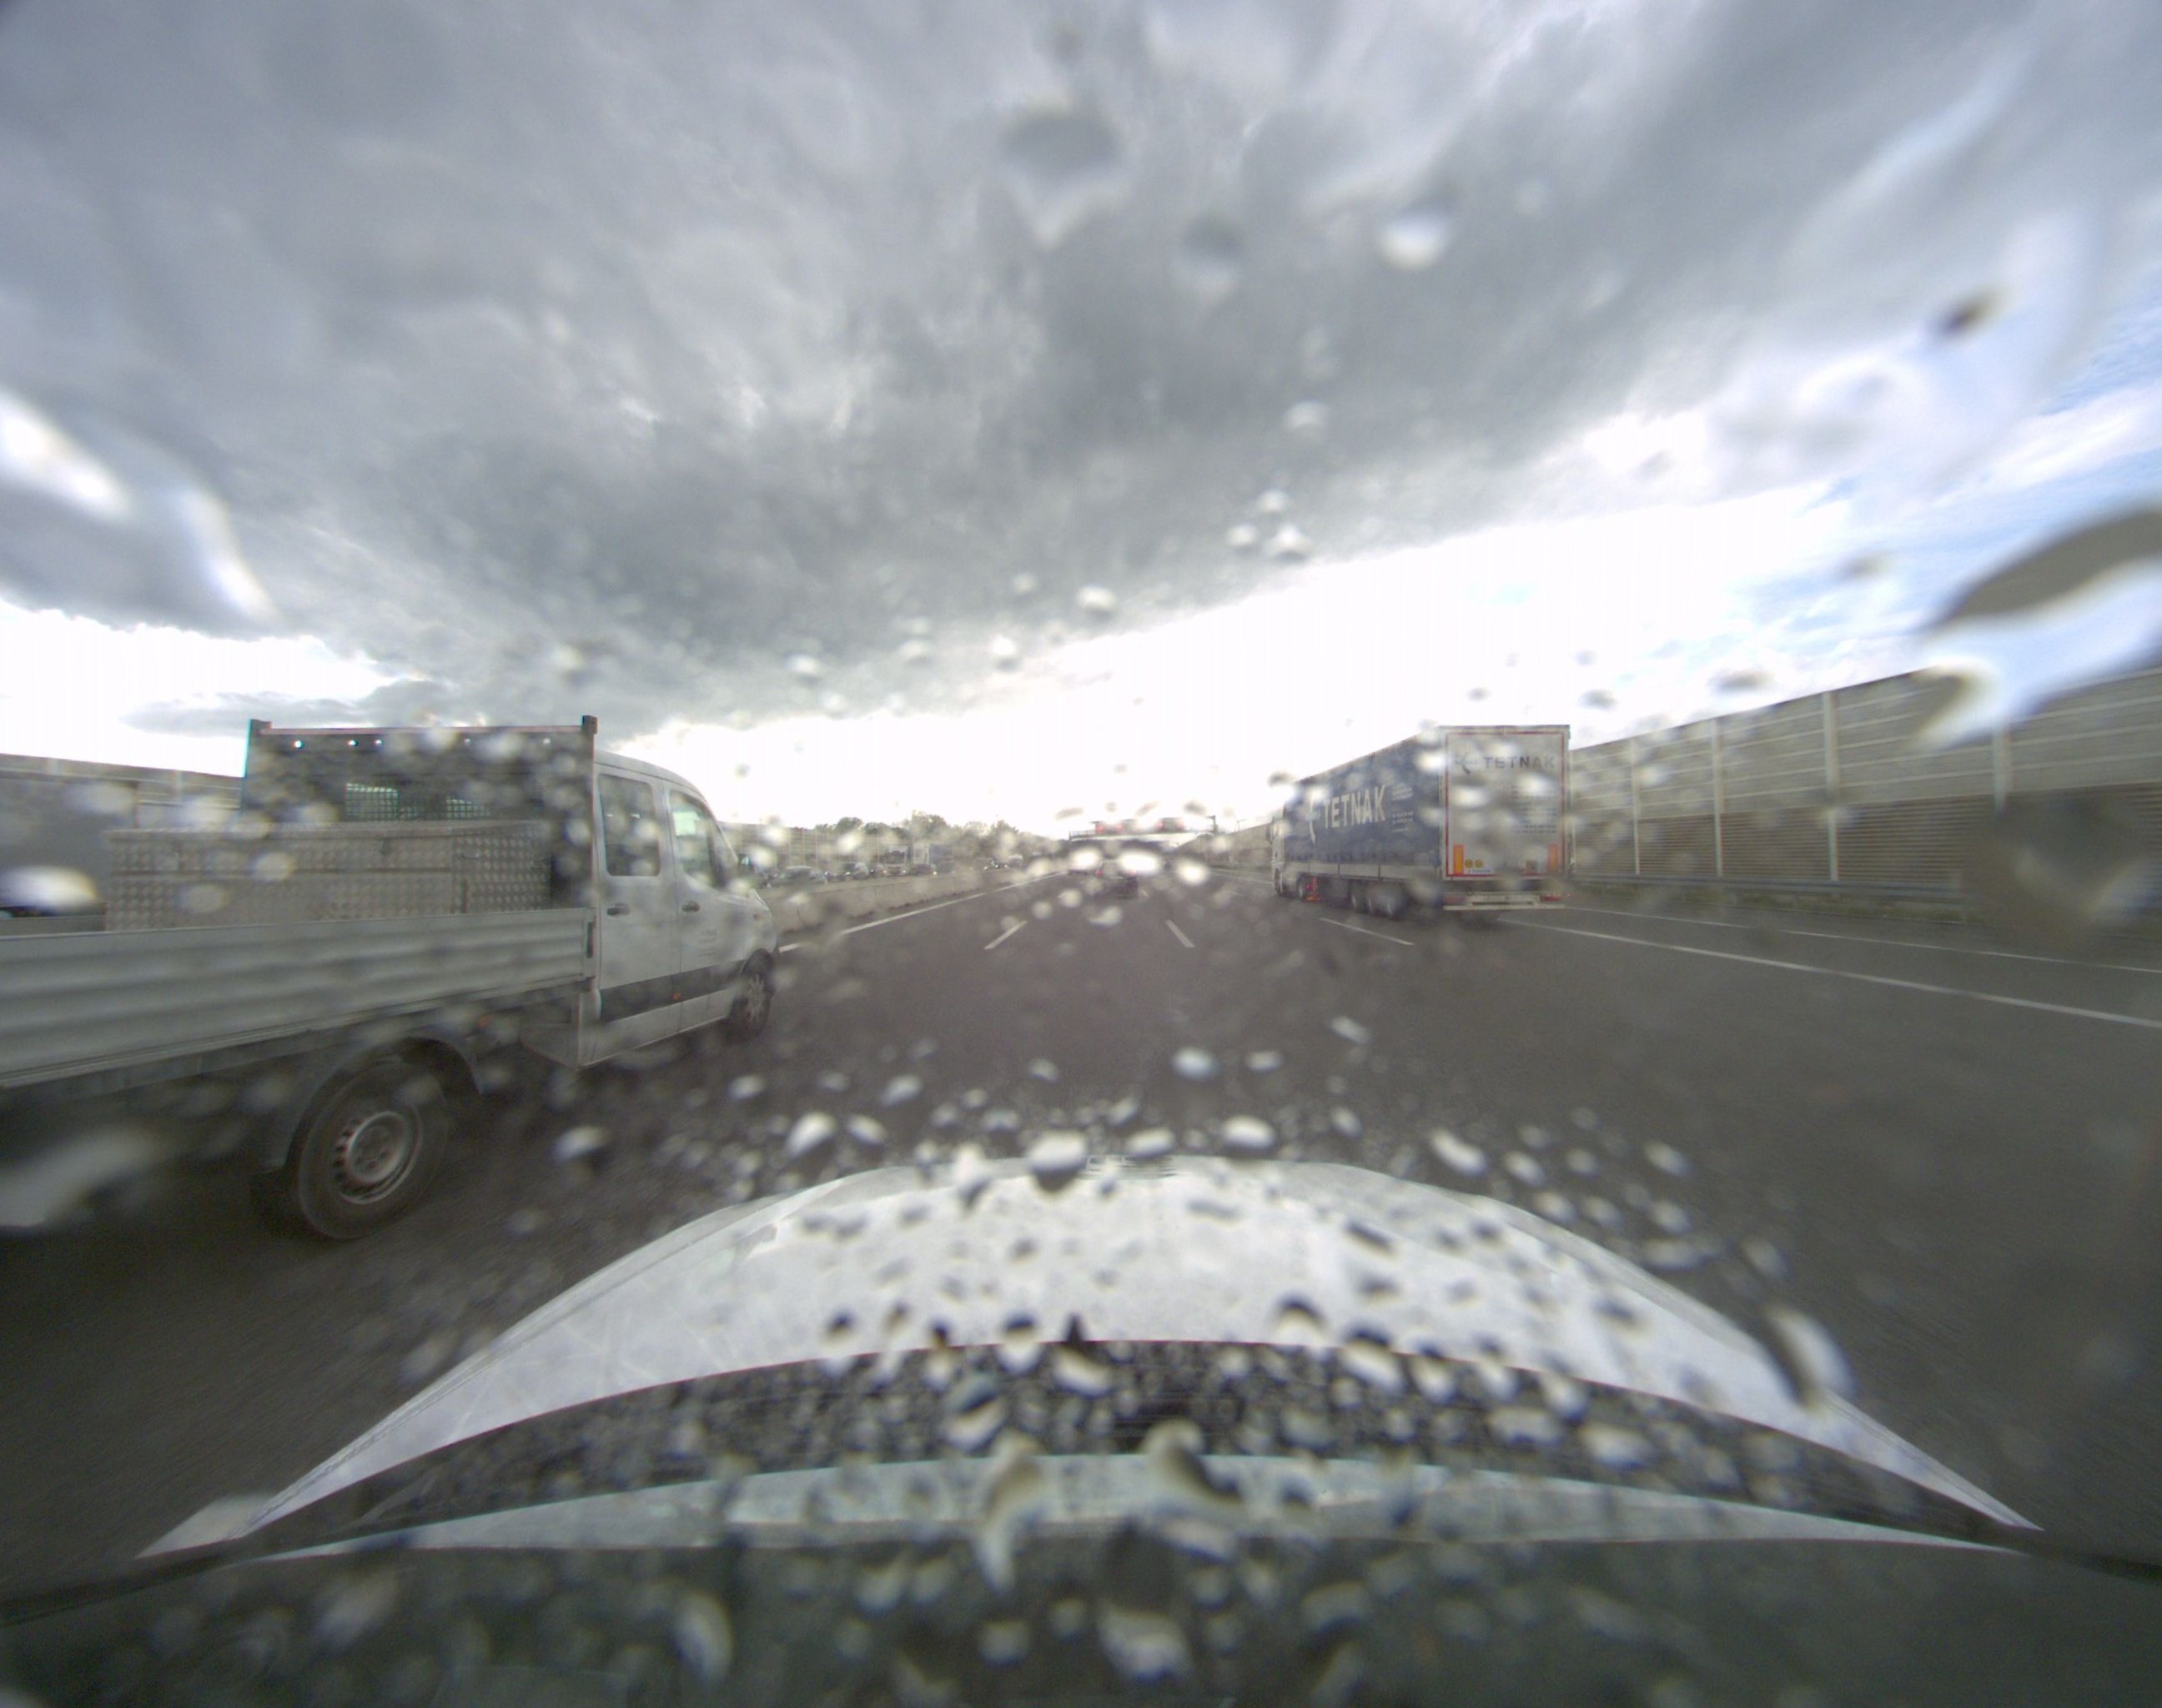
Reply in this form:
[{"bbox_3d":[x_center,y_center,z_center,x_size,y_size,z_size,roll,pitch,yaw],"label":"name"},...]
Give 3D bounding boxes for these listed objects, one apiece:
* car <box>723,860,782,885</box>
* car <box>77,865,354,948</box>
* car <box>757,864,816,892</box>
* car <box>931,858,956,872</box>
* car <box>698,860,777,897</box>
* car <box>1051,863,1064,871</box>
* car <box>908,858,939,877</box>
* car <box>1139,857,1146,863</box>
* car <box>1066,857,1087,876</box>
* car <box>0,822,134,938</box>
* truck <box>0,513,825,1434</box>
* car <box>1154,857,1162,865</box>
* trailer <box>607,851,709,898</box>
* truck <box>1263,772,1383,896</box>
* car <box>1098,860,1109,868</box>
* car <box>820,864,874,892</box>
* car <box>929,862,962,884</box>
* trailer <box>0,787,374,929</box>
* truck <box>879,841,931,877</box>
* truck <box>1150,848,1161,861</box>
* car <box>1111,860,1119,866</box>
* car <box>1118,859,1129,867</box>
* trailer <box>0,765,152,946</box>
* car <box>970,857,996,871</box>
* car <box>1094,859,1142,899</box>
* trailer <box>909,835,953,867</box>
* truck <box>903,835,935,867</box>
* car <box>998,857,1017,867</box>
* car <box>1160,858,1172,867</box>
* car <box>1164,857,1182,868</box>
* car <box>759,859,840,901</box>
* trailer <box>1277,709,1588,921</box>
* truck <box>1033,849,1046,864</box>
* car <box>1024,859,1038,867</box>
[{"bbox_3d":[-24.024,1.347,59.788,2.053,1.699,5.090,-1,0,2],"label":"car"},{"bbox_3d":[-20.598,1.167,19.740,1.949,1.699,4.411,-1,0,1],"label":"car"},{"bbox_3d":[-19.725,1.584,54.795,2.054,1.699,5.089,-1,0,1],"label":"car"},{"bbox_3d":[-17.137,1.362,101.592,2.052,1.600,5.000,-1,-1,2],"label":"car"},{"bbox_3d":[-16.764,1.156,40.017,1.949,1.699,4.411,-1,0,1],"label":"car"},{"bbox_3d":[-4.865,2.669,169.486,2.051,1.491,5.003,-1,-1,4],"label":"car"},{"bbox_3d":[-15.065,1.243,78.305,1.866,1.699,5.017,-1,0,2],"label":"car"},{"bbox_3d":[16.533,1.547,218.458,1.959,1.561,4.438,-2,-1,5],"label":"car"},{"bbox_3d":[-0.394,1.158,75.936,1.710,1.624,4.282,-1,0,4],"label":"car"},{"bbox_3d":[-17.840,0.419,11.860,2.054,1.816,5.114,-1,0,1],"label":"car"},{"bbox_3d":[-3.988,0.337,5.322,2.299,2.440,7.148,-1,0,0],"label":"truck"},{"bbox_3d":[17.719,1.628,187.480,1.874,1.561,4.438,-2,-1,4],"label":"car"},{"bbox_3d":[-24.200,1.107,46.941,2.449,2.495,6.089,-1,0,3],"label":"trailer"},{"bbox_3d":[8.624,-0.646,29.713,2.735,4.035,5.727,-1,-1,1],"label":"truck"},{"bbox_3d":[4.644,2.001,166.860,1.959,1.561,4.438,-2,-1,4],"label":"car"},{"bbox_3d":[-15.609,1.590,54.688,2.054,1.699,5.089,-1,0,1],"label":"car"},{"bbox_3d":[-11.173,1.535,67.548,1.866,1.699,4.223,-1,0,2],"label":"car"},{"bbox_3d":[-31.848,0.164,27.758,2.924,4.032,13.869,-1,0,3],"label":"trailer"},{"bbox_3d":[-18.206,0.538,85.038,2.684,3.527,10.005,0,0,4],"label":"truck"},{"bbox_3d":[21.660,0.084,237.609,3.138,3.602,12.714,0,0,5],"label":"truck"},{"bbox_3d":[9.443,2.485,227.312,1.959,1.561,4.438,-2,-1,4],"label":"car"},{"bbox_3d":[8.226,1.761,156.516,1.959,1.561,4.438,-2,-1,4],"label":"car"},{"bbox_3d":[-25.689,0.028,13.826,2.750,4.032,14.462,-1,0,3],"label":"trailer"},{"bbox_3d":[-10.283,1.020,85.658,1.866,1.299,5.602,-1,0,2],"label":"car"},{"bbox_3d":[1.409,0.906,31.632,1.711,1.417,4.280,-1,0,2],"label":"car"},{"bbox_3d":[-20.509,-0.341,112.287,2.750,4.032,14.461,-1,0,2],"label":"trailer"},{"bbox_3d":[-20.849,-0.367,105.077,2.734,4.035,5.729,-1,-1,2],"label":"truck"},{"bbox_3d":[-11.282,1.290,124.798,2.051,1.491,5.003,-1,-1,4],"label":"car"},{"bbox_3d":[14.818,1.521,142.065,1.874,1.542,4.438,-2,-1,5],"label":"car"},{"bbox_3d":[12.049,1.147,107.042,1.942,1.418,4.233,-1,-1,1],"label":"car"},{"bbox_3d":[-12.351,1.099,36.025,1.949,1.699,4.411,-1,0,1],"label":"car"},{"bbox_3d":[8.452,-0.693,22.798,2.751,4.032,14.456,-1,0,1],"label":"trailer"},{"bbox_3d":[-11.600,0.772,228.957,2.958,4.035,5.732,-1,-1,4],"label":"truck"},{"bbox_3d":[-9.614,1.692,156.298,2.051,1.491,5.003,-1,-1,4],"label":"car"}]
